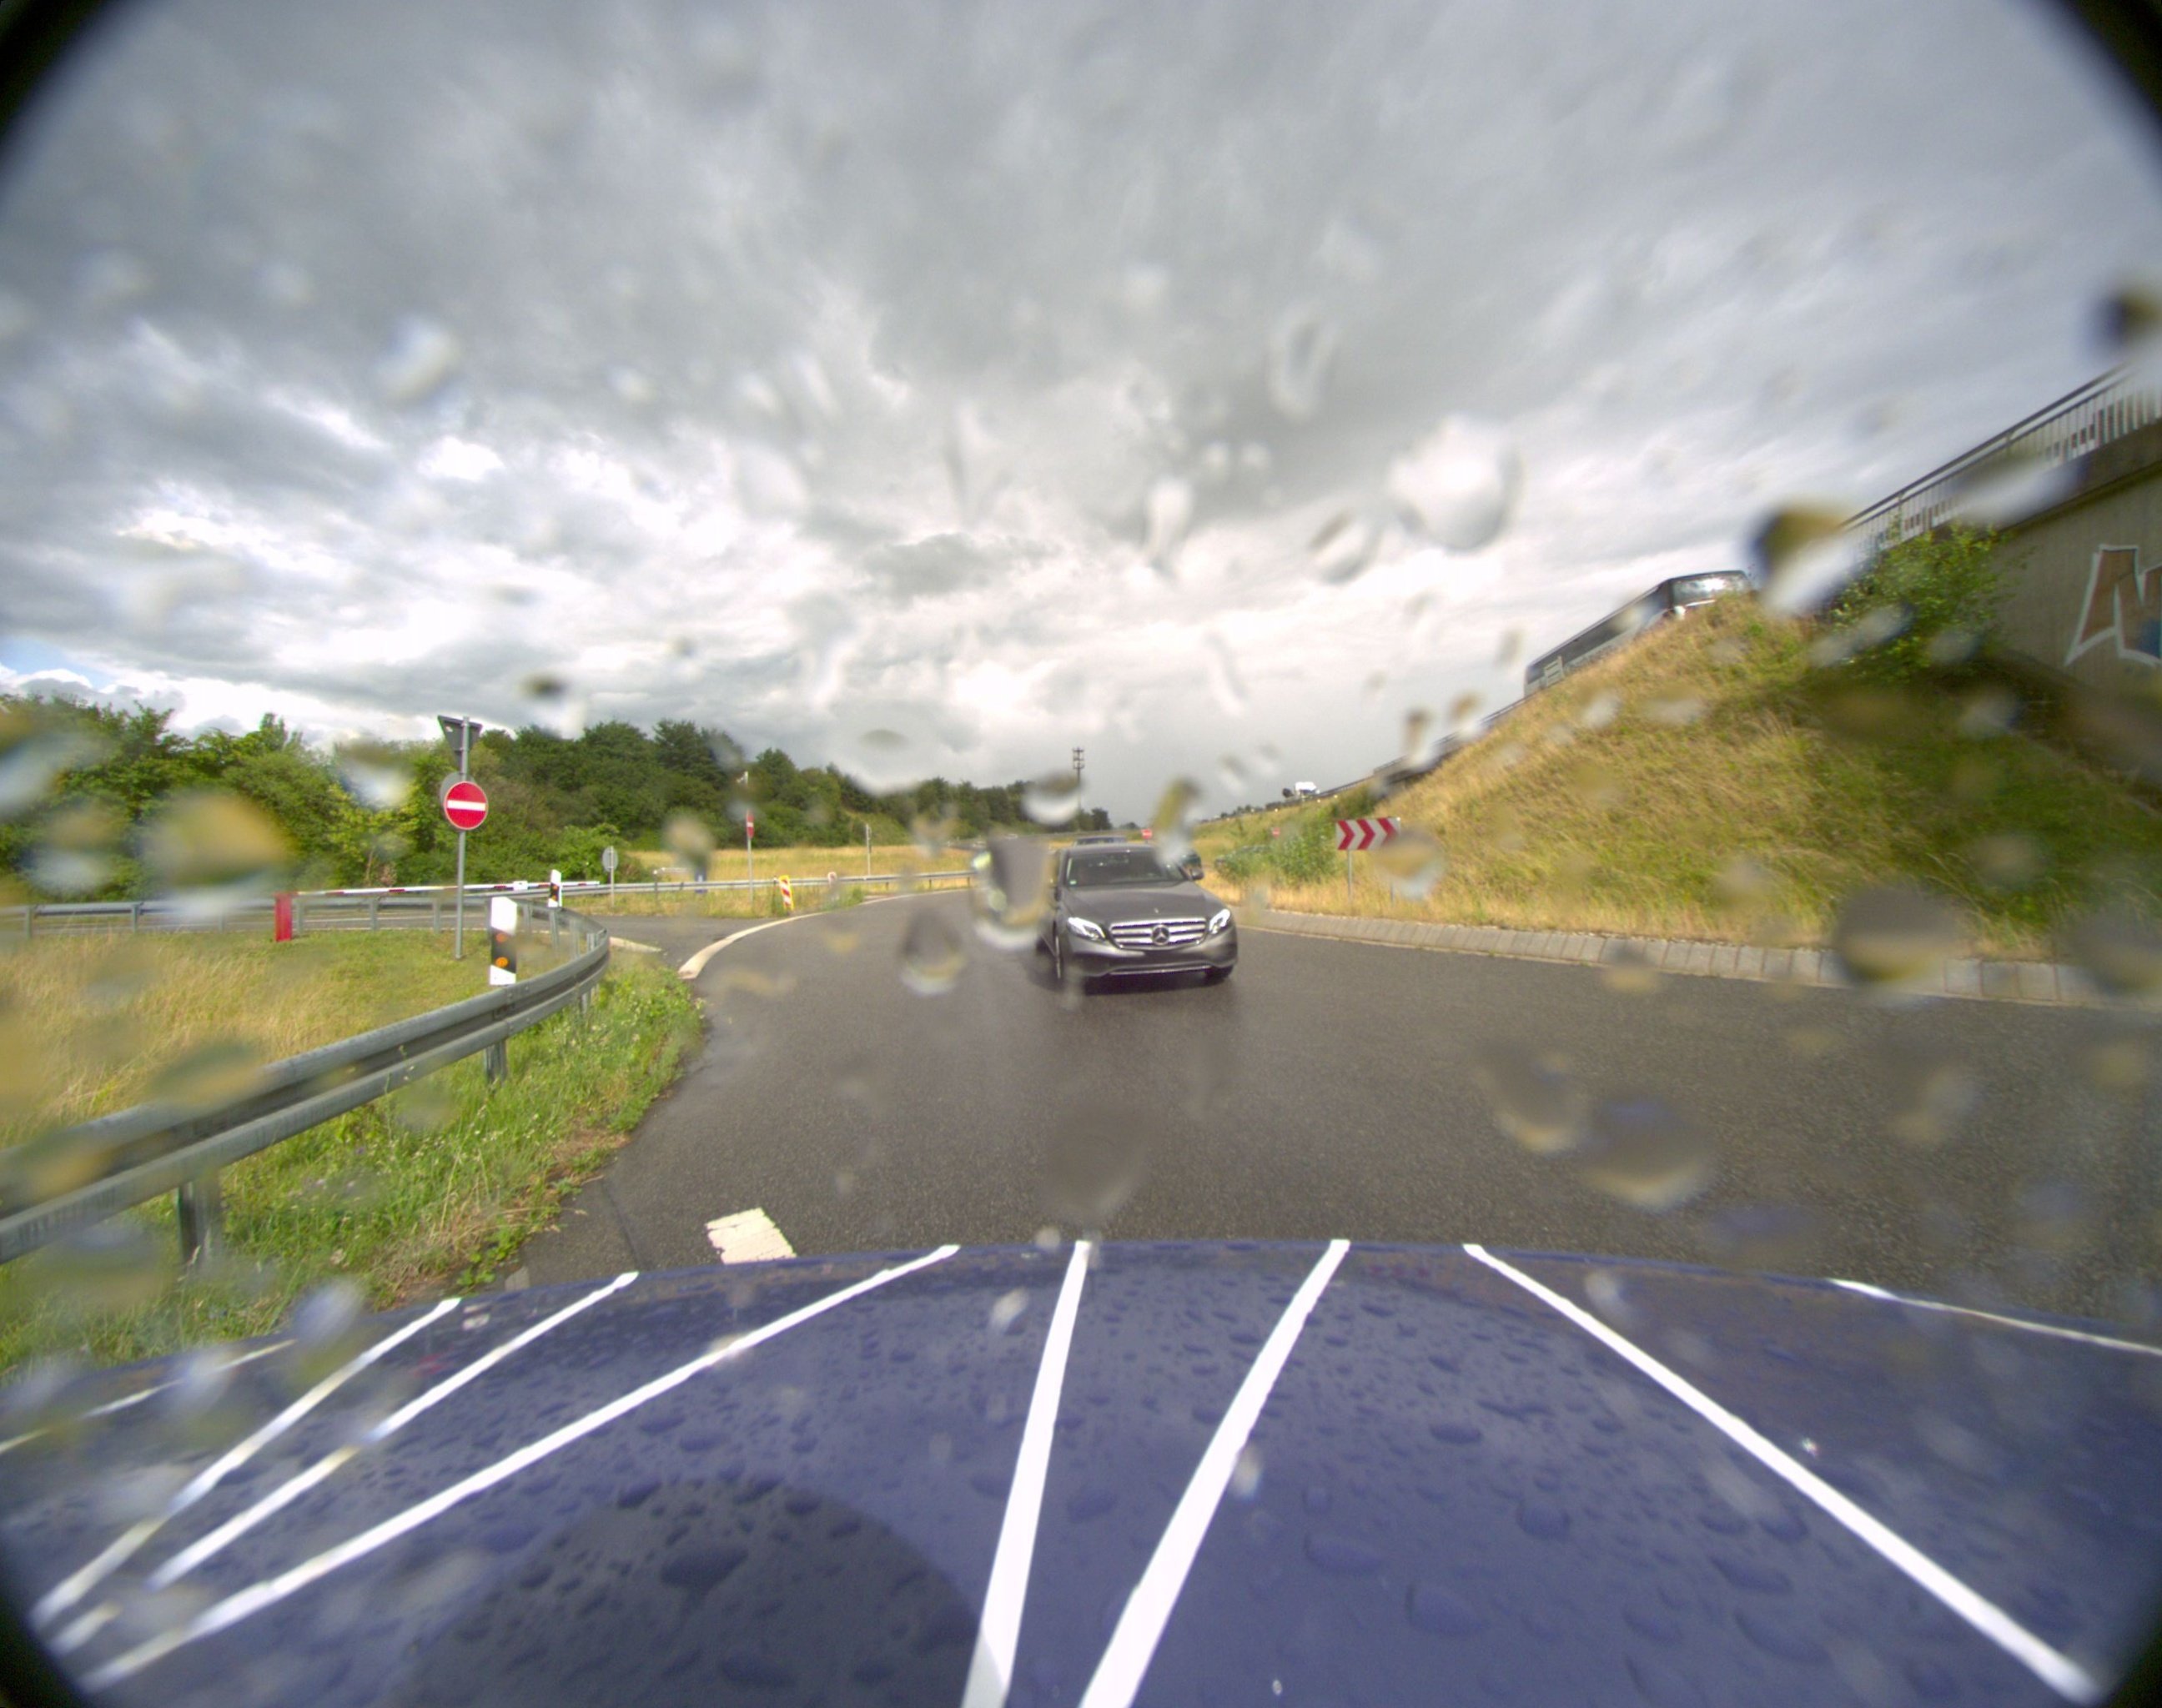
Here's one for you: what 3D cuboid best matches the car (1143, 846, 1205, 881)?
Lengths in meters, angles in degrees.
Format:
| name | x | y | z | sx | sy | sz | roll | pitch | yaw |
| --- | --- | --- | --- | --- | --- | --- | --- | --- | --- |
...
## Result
| name | x | y | z | sx | sy | sz | roll | pitch | yaw |
| --- | --- | --- | --- | --- | --- | --- | --- | --- | --- |
| car | 4.310 | 0.393 | 34.745 | 1.770 | 1.476 | 3.839 | -1 | 1 | 24 |

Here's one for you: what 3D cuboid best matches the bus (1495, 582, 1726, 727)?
| name | x | y | z | sx | sy | sz | roll | pitch | yaw |
| --- | --- | --- | --- | --- | --- | --- | --- | --- | --- |
| bus | 23.099 | -8.413 | 34.751 | 2.609 | 3.062 | 14.471 | -3 | 1 | 9 |

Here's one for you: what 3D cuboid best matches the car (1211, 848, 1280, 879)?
| name | x | y | z | sx | sy | sz | roll | pitch | yaw |
| --- | --- | --- | --- | --- | --- | --- | --- | --- | --- |
| car | 8.959 | 0.503 | 41.151 | 3.936 | 1.528 | 1.568 | -2 | 1 | -40 |

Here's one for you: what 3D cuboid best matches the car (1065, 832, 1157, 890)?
| name | x | y | z | sx | sy | sz | roll | pitch | yaw |
| --- | --- | --- | --- | --- | --- | --- | --- | --- | --- |
| car | 1.305 | 0.187 | 29.775 | 1.890 | 1.904 | 5.688 | -3 | 2 | 20 |

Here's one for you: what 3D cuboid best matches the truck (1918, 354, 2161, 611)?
| name | x | y | z | sx | sy | sz | roll | pitch | yaw |
| --- | --- | --- | --- | --- | --- | --- | --- | --- | --- |
| truck | 18.584 | -6.753 | 11.399 | 2.203 | 2.857 | 10.832 | -3 | 1 | 12 |

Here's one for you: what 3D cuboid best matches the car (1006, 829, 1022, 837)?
| name | x | y | z | sx | sy | sz | roll | pitch | yaw |
| --- | --- | --- | --- | --- | --- | --- | --- | --- | --- |
| car | -14.814 | -4.650 | 168.752 | 1.763 | 1.634 | 3.899 | -2 | 1 | 24 |

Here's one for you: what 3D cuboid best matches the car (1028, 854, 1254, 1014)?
| name | x | y | z | sx | sy | sz | roll | pitch | yaw |
| --- | --- | --- | --- | --- | --- | --- | --- | --- | --- |
| car | 0.413 | 0.740 | 9.231 | 1.771 | 1.383 | 4.588 | -2 | 0 | -8 |

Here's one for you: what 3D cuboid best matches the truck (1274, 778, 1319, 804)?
| name | x | y | z | sx | sy | sz | roll | pitch | yaw |
| --- | --- | --- | --- | --- | --- | --- | --- | --- | --- |
| truck | 31.980 | -9.283 | 113.042 | 3.160 | 3.176 | 9.273 | -3 | 1 | -6 |

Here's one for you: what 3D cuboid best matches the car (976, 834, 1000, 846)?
| name | x | y | z | sx | sy | sz | roll | pitch | yaw |
| --- | --- | --- | --- | --- | --- | --- | --- | --- | --- |
| car | -12.832 | -1.932 | 105.154 | 1.974 | 1.528 | 3.932 | -1 | 1 | 14 |

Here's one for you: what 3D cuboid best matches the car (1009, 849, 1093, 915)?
| name | x | y | z | sx | sy | sz | roll | pitch | yaw |
| --- | --- | --- | --- | --- | --- | --- | --- | --- | --- |
| car | -0.807 | 0.655 | 18.360 | 1.798 | 1.390 | 4.348 | 0 | -2 | -5 |
